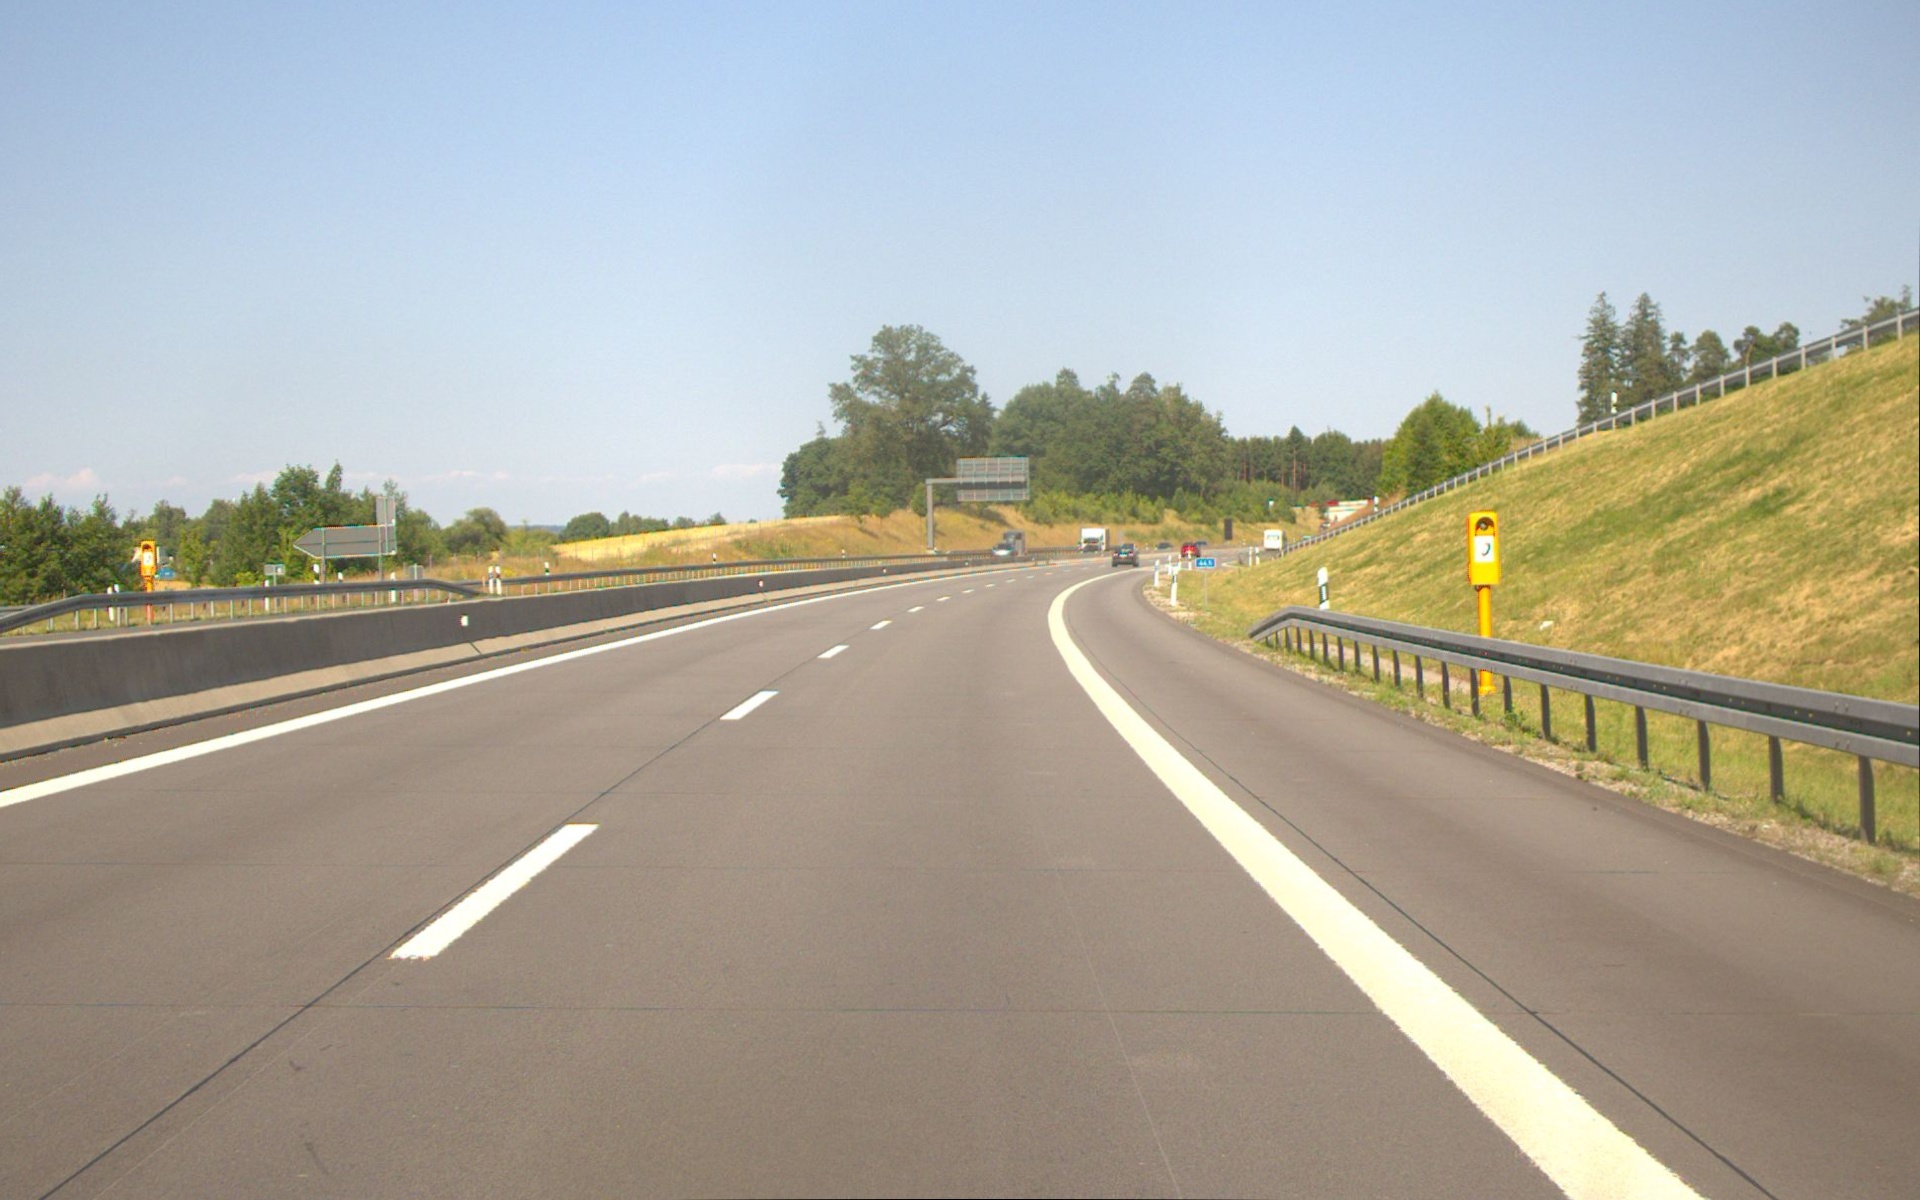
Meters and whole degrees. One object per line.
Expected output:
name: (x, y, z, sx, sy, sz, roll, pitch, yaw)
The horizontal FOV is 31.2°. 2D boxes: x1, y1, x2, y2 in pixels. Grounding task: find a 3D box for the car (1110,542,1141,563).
car: (11.926, -3.453, 247.526, 1.994, 1.415, 3.999, -2, 1, 5)
